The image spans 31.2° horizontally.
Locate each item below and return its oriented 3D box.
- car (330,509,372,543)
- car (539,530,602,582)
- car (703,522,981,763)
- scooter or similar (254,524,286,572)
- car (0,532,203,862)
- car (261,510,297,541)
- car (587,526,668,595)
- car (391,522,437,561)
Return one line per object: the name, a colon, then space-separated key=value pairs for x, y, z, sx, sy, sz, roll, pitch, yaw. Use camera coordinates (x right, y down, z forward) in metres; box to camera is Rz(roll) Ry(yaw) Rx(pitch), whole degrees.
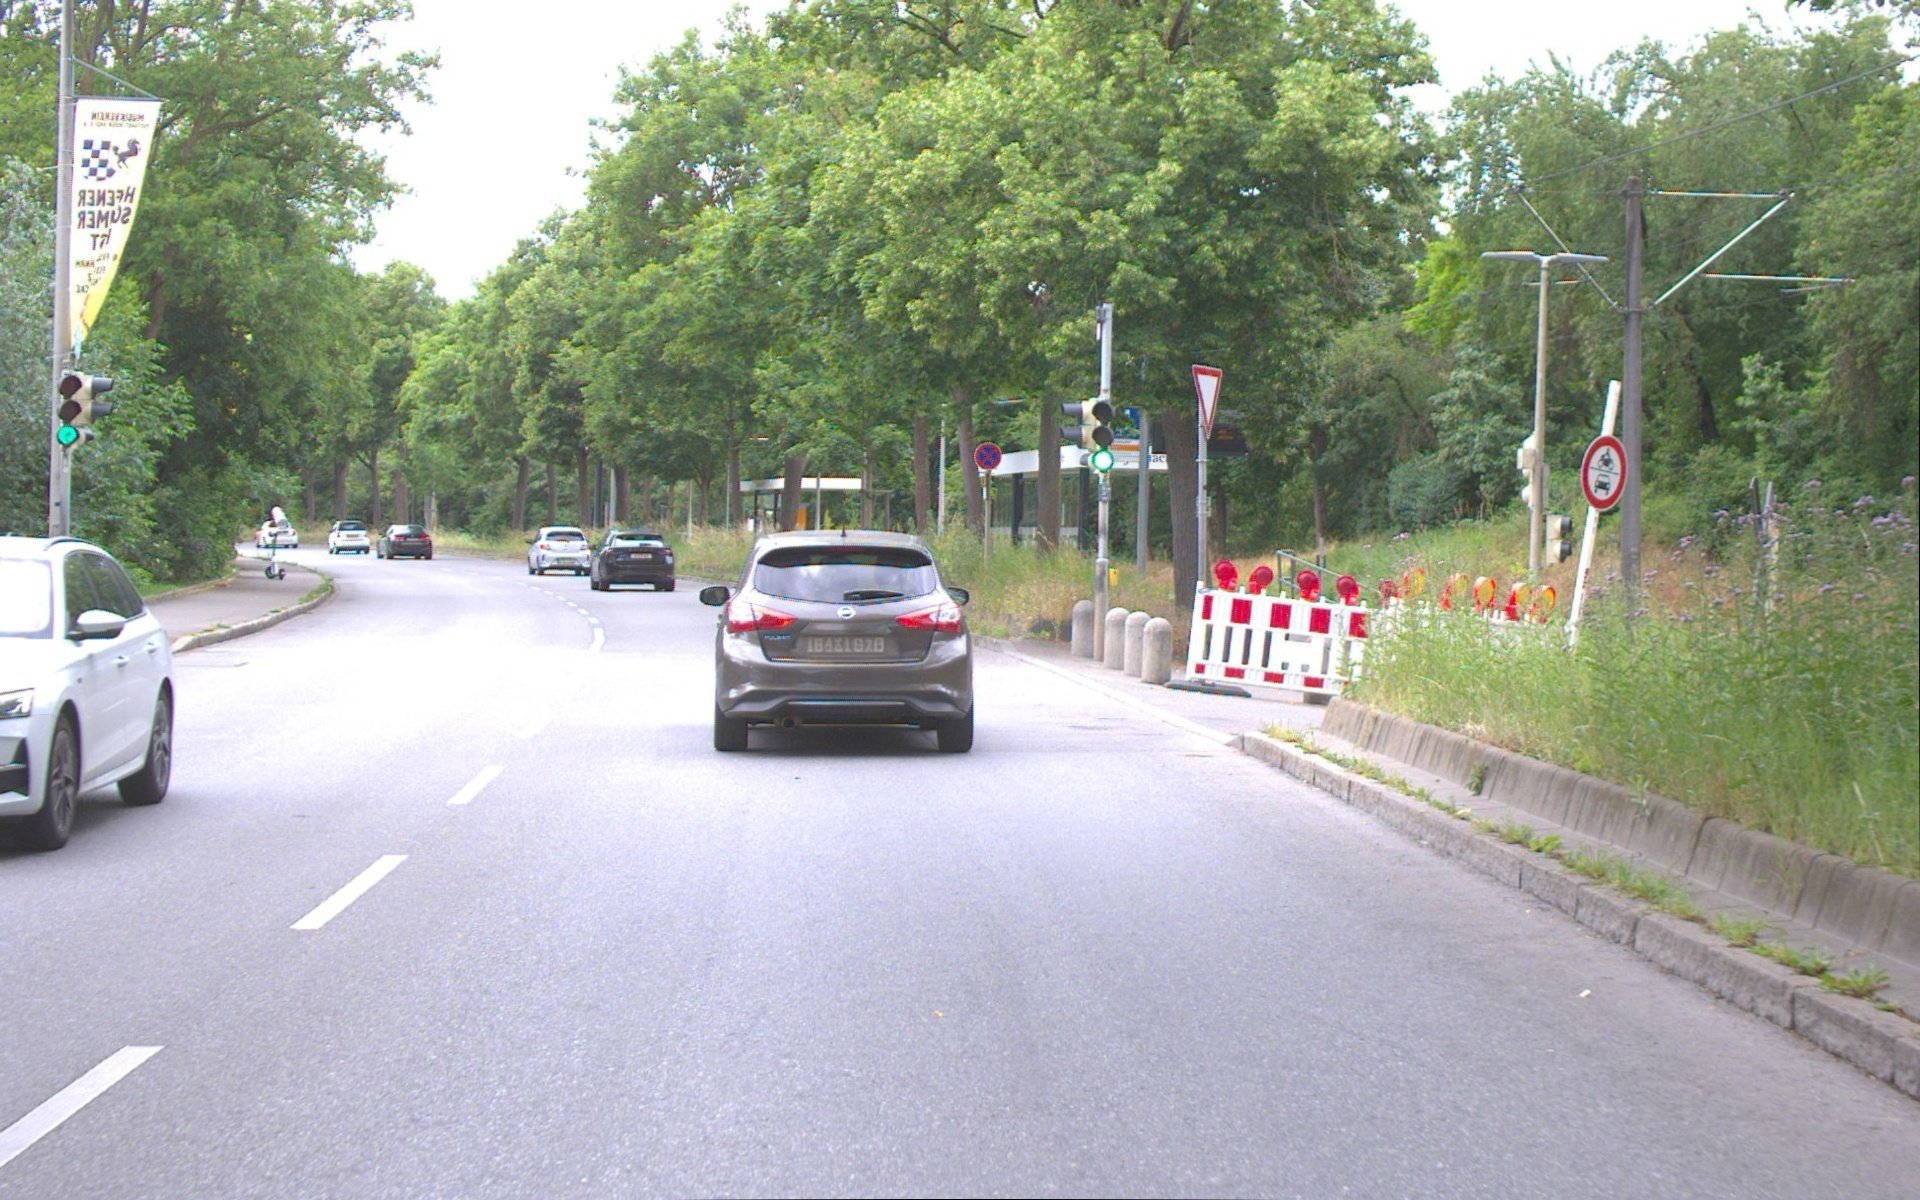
car: x=-28.469 y=-3.481 z=160.606 sx=1.775 sy=1.467 sz=4.002 roll=2 pitch=2 yaw=-12
car: x=-12.035 y=-1.370 z=106.318 sx=1.775 sy=1.467 sz=4.001 roll=3 pitch=1 yaw=-5
car: x=-0.923 y=0.239 z=24.640 sx=1.816 sy=1.503 sz=4.001 roll=0 pitch=2 yaw=-4
scooter or similar: x=-17.500 y=-1.317 z=87.154 sx=0.364 sy=1.180 sz=1.298 roll=2 pitch=1 yaw=-30
car: x=-5.092 y=0.387 z=17.277 sx=1.773 sy=1.434 sz=4.362 roll=0 pitch=1 yaw=-2
car: x=-35.789 y=-3.928 z=180.612 sx=1.775 sy=1.467 sz=4.001 roll=3 pitch=1 yaw=-12
car: x=-7.902 y=-0.958 z=81.481 sx=1.775 sy=1.467 sz=4.001 roll=3 pitch=1 yaw=-6
car: x=-22.915 y=-2.456 z=144.340 sx=1.775 sy=1.467 sz=4.001 roll=4 pitch=1 yaw=-8
